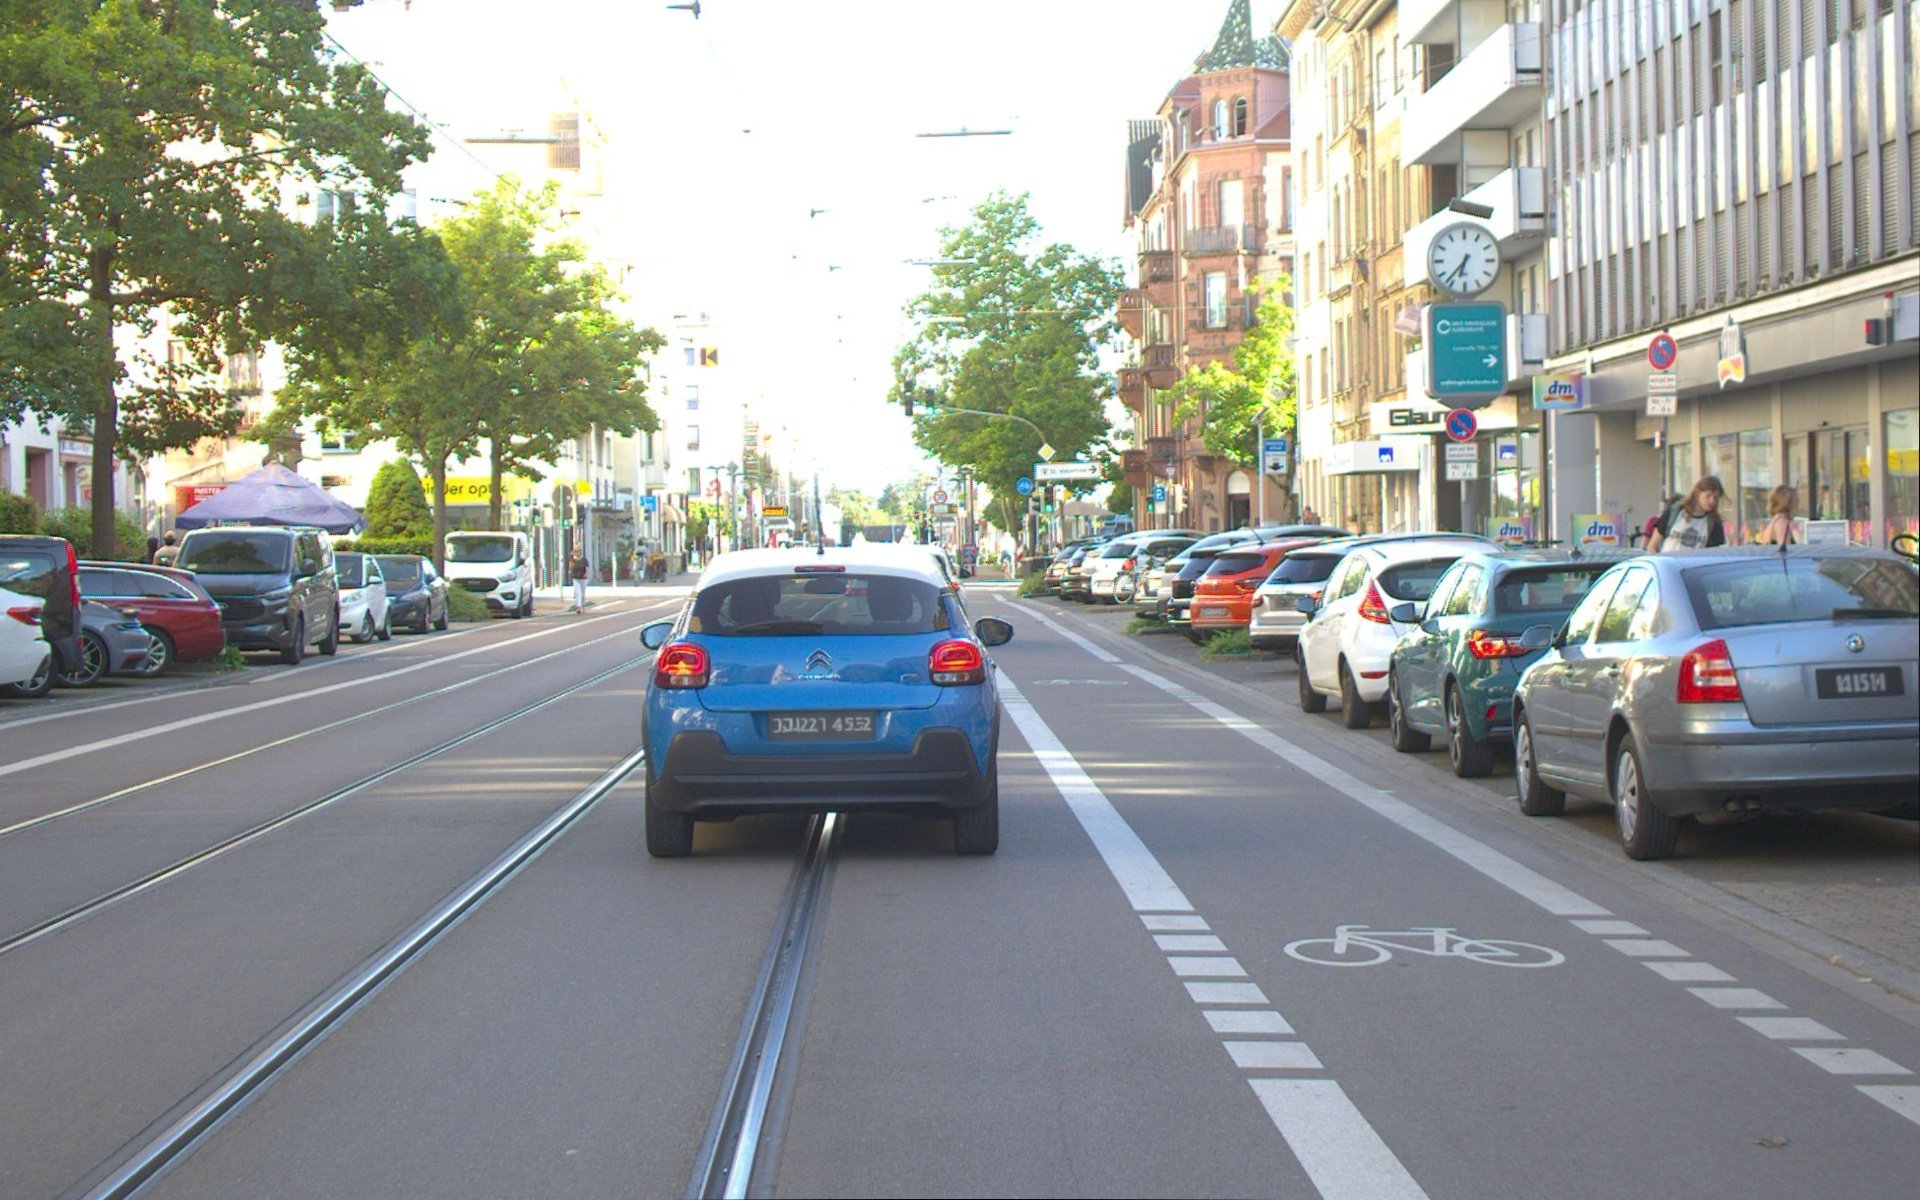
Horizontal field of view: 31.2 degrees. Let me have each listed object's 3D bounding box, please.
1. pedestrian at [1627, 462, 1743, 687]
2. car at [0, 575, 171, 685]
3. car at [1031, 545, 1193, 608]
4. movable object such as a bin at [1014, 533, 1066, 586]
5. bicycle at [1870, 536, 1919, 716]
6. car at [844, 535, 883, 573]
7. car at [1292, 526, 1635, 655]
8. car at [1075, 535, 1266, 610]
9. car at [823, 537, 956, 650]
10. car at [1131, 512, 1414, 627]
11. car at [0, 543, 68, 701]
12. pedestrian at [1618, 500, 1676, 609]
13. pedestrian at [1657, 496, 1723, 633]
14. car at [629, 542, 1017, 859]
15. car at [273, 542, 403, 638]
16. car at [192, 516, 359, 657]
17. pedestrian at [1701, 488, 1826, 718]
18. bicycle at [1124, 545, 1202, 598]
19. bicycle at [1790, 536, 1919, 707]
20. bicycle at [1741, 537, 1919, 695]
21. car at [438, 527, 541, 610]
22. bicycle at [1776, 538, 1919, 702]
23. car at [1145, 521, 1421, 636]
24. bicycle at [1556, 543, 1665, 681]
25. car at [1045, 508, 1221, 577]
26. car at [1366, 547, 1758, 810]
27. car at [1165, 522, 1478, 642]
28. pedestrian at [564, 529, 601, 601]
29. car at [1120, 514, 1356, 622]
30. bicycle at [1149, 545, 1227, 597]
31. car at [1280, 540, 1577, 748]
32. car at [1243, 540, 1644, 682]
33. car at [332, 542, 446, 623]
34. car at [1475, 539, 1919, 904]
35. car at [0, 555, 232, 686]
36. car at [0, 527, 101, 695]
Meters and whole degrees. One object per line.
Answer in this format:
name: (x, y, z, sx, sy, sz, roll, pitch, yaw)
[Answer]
pedestrian: (5.433, -0.195, 25.785, 0.712, 1.666, 0.654, 0, 1, -1)
car: (-11.457, 0.351, 40.872, 3.796, 1.261, 1.516, -1, 1, -26)
car: (3.823, -0.603, 86.371, 3.653, 1.529, 1.789, -1, 1, -20)
movable object such as a bin: (2.225, -1.128, 95.660, 1.394, 1.478, 1.655, 0, 1, -1)
bicycle: (7.373, 0.151, 23.599, 2.056, 1.217, 0.664, -1, 1, -2)
car: (-3.607, -1.723, 128.914, 1.423, 1.427, 3.139, 0, 1, 0)
car: (6.097, -0.138, 41.566, 3.774, 1.482, 1.838, -1, 1, -30)
car: (4.518, -0.605, 73.619, 3.654, 1.568, 1.861, -1, 1, -29)
car: (-1.018, -0.119, 50.643, 1.873, 1.590, 4.000, 0, 1, 0)
car: (4.659, -0.468, 51.103, 3.719, 1.646, 2.047, -1, 1, -33)
car: (-11.654, 0.241, 34.837, 4.756, 1.612, 1.712, -1, 1, -33)
pedestrian: (10.098, -0.672, 50.547, 0.692, 1.582, 0.678, 0, 1, -1)
pedestrian: (9.412, -0.464, 44.352, 0.692, 1.750, 0.678, 0, 1, -1)
car: (-0.659, 0.435, 17.461, 1.762, 1.436, 3.557, 0, 1, -1)
car: (-10.814, -0.197, 60.044, 1.747, 1.612, 4.411, 0, 1, -4)
car: (-10.091, -0.224, 51.009, 1.747, 1.967, 5.241, 0, 1, -4)
pedestrian: (5.694, 0.017, 24.387, 0.712, 1.601, 0.654, 0, 1, -1)
bicycle: (4.106, -0.577, 69.666, 0.553, 1.044, 1.807, -1, 1, -36)
bicycle: (7.361, 0.142, 24.881, 2.538, 1.217, 0.664, 0, 1, -1)
bicycle: (7.230, 0.116, 27.027, 2.019, 1.217, 0.664, 0, 1, -1)
car: (-10.774, -0.728, 78.938, 1.831, 1.841, 4.214, 0, 1, -1)
bicycle: (7.274, 0.141, 26.051, 2.019, 1.217, 0.664, 0, 1, -1)
car: (4.522, -0.316, 48.097, 3.441, 1.550, 1.824, -1, 1, -32)
bicycle: (5.681, 0.094, 30.059, 0.693, 1.181, 1.239, 0, 1, -1)
car: (4.011, -1.343, 79.781, 3.653, 1.568, 1.861, -1, 1, -20)
car: (3.896, 0.450, 22.885, 1.873, 1.590, 4.000, 0, 1, 0)
car: (4.799, -0.259, 45.538, 3.719, 1.515, 1.968, -1, 1, -33)
pedestrian: (-9.091, -0.842, 82.826, 0.729, 1.720, 0.628, -1, 1, -25)
car: (4.365, -0.516, 53.833, 3.442, 1.634, 1.684, -1, 1, -37)
bicycle: (4.629, -0.593, 70.026, 0.553, 1.044, 1.807, -1, 1, -36)
car: (3.788, 0.314, 28.421, 1.873, 1.590, 4.000, 0, 1, 0)
car: (5.441, 0.090, 38.487, 4.439, 1.503, 1.536, -1, 1, -30)
car: (-10.820, -0.343, 65.383, 1.747, 1.481, 4.043, 0, 1, -4)
car: (3.918, 0.500, 17.393, 1.873, 1.590, 4.719, 0, 1, 0)
car: (-11.379, 0.242, 44.157, 3.722, 1.617, 1.789, -1, 1, -22)
car: (-11.580, 0.120, 37.554, 3.986, 1.810, 1.713, -1, 1, -26)
